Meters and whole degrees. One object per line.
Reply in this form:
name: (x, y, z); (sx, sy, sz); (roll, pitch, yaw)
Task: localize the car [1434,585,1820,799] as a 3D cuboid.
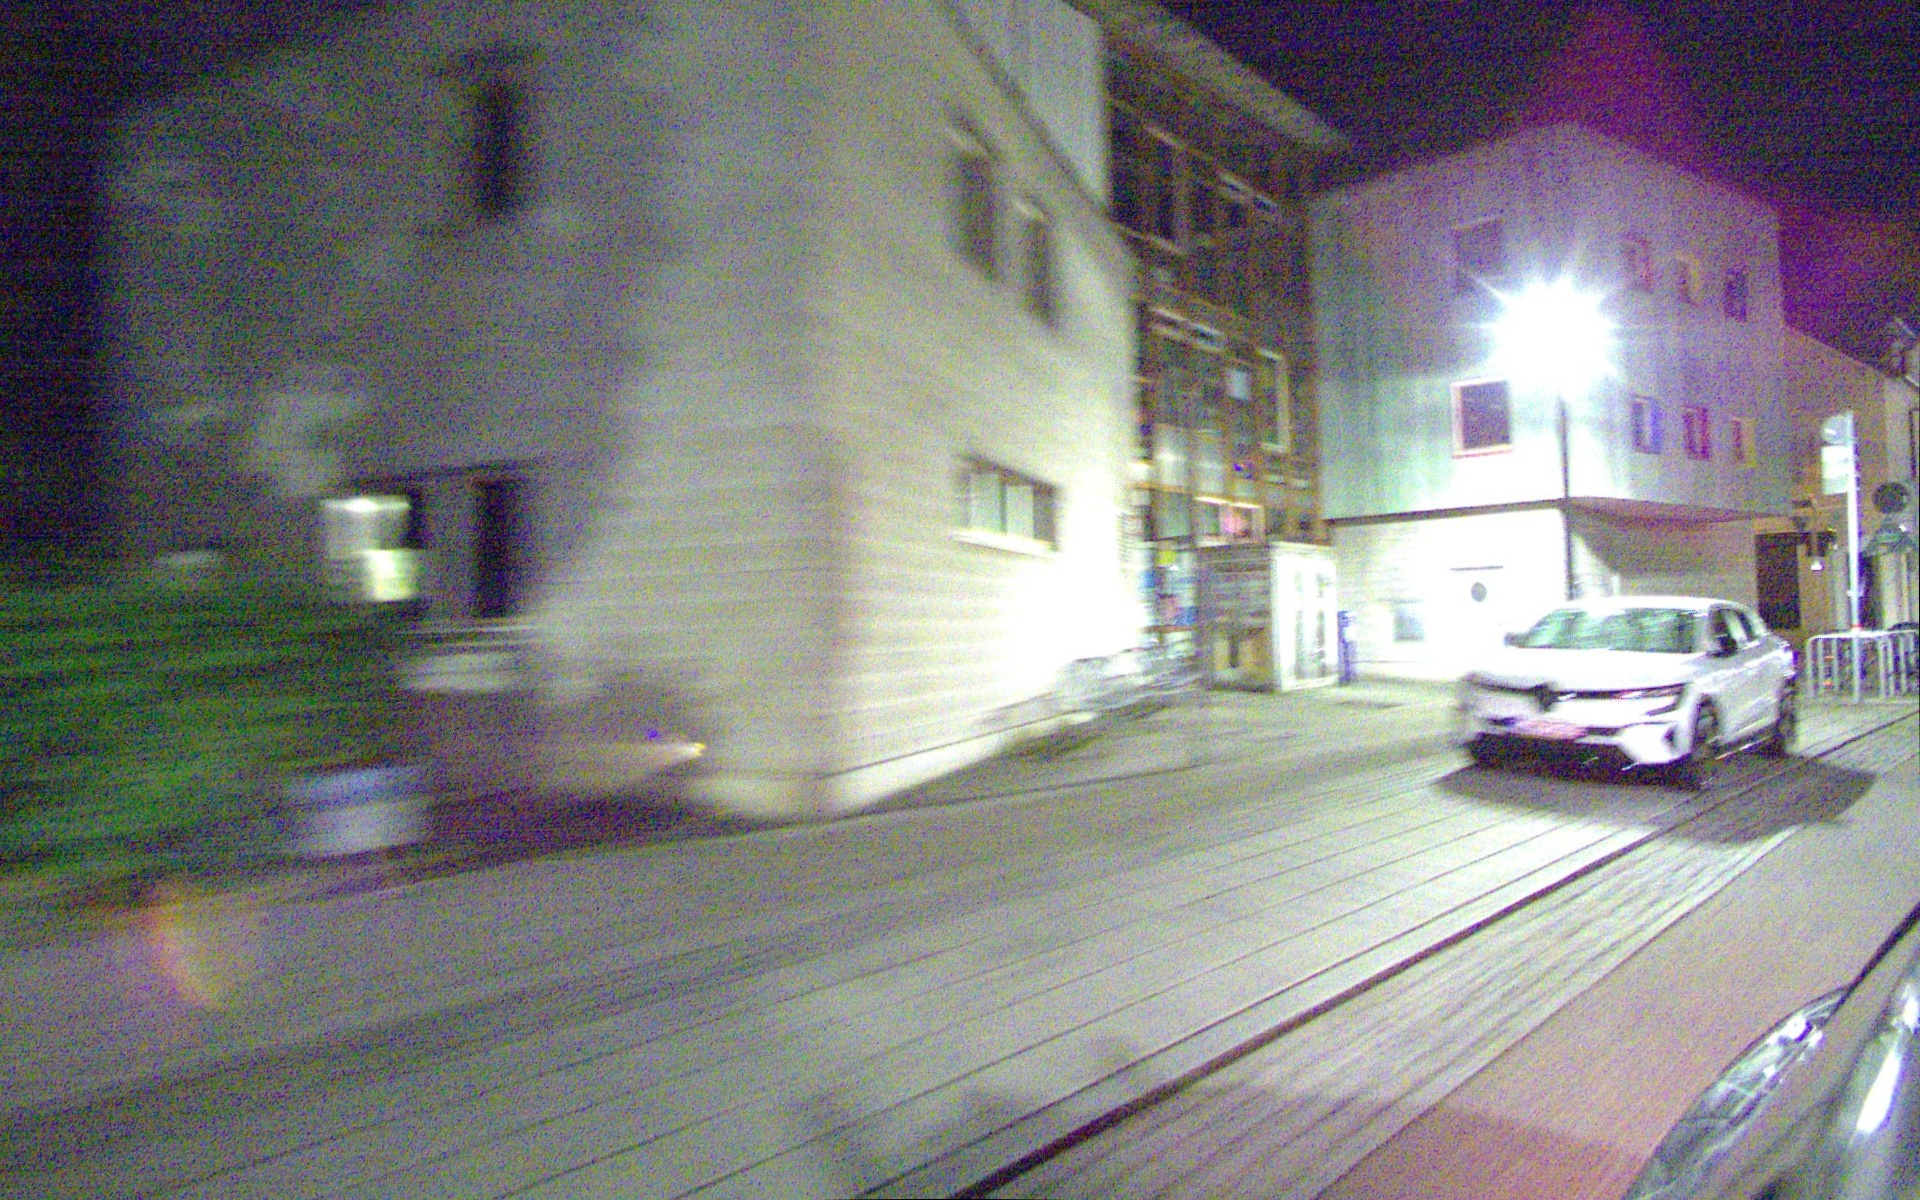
car: (6.119, 0.638, 9.123); (3.986, 1.510, 1.793); (-1, 0, -39)

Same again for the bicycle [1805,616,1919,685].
bicycle: (15.025, 0.816, 16.570); (0.340, 1.076, 1.756); (0, -2, -42)
